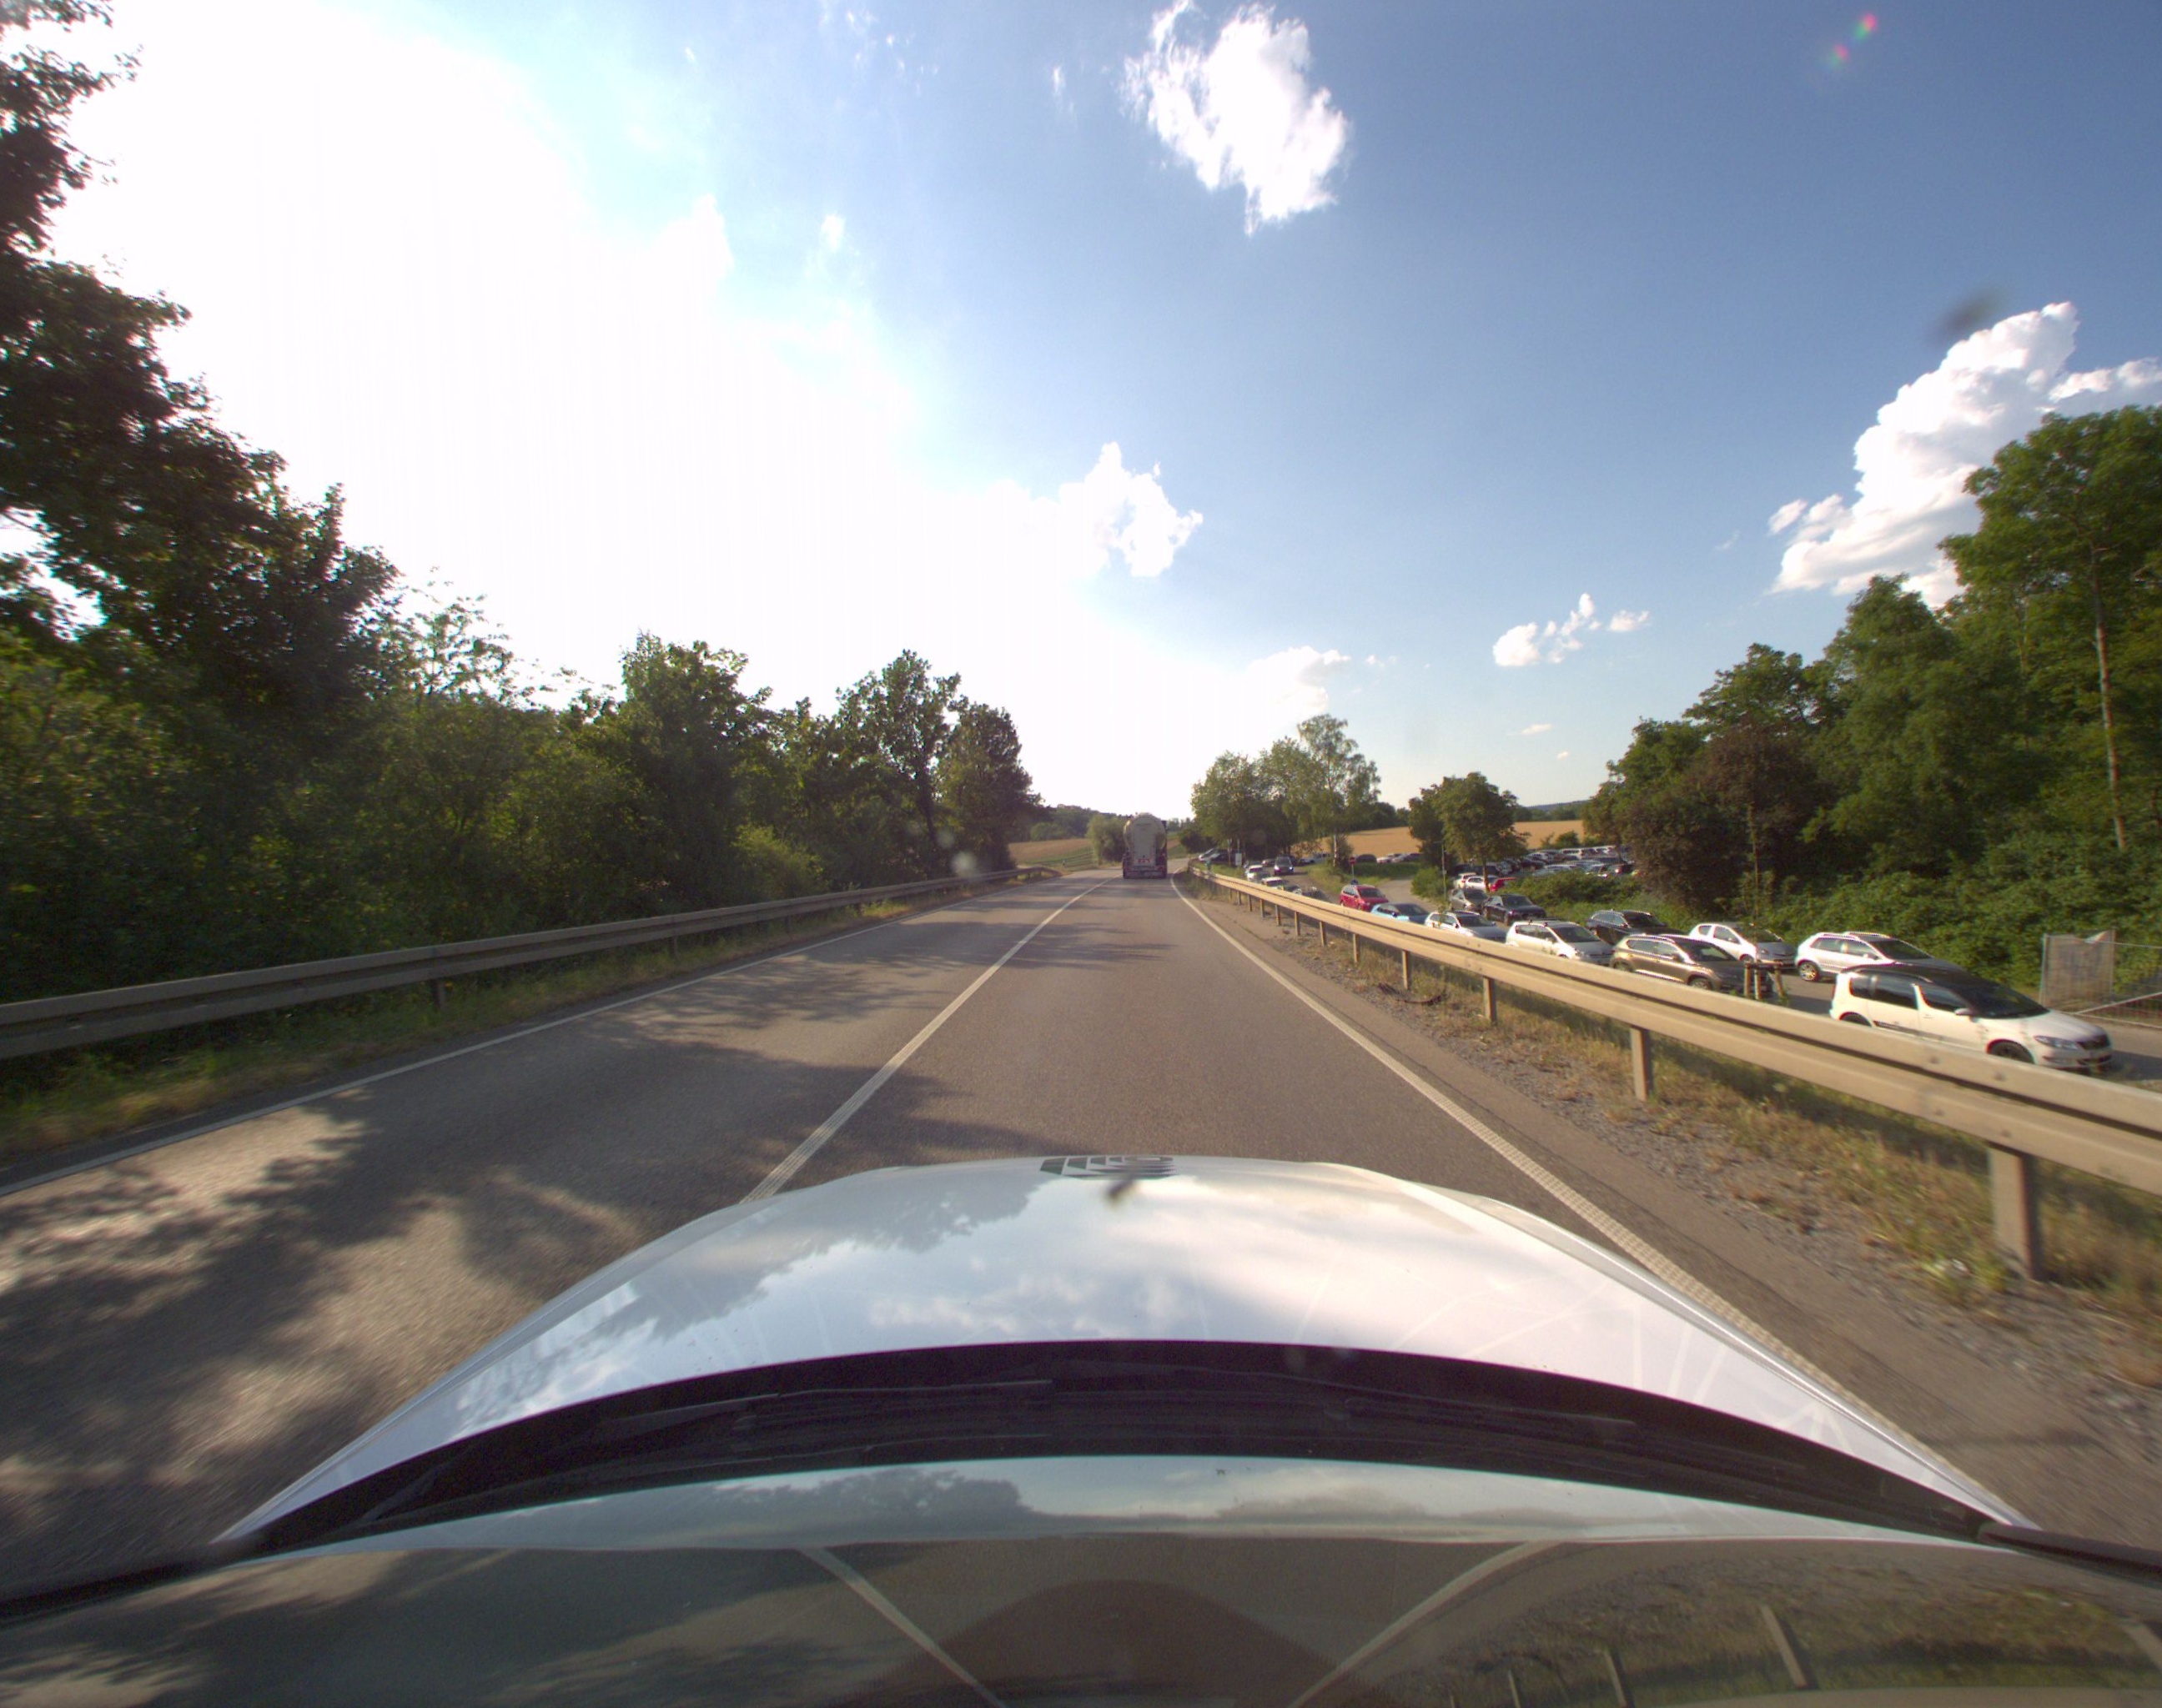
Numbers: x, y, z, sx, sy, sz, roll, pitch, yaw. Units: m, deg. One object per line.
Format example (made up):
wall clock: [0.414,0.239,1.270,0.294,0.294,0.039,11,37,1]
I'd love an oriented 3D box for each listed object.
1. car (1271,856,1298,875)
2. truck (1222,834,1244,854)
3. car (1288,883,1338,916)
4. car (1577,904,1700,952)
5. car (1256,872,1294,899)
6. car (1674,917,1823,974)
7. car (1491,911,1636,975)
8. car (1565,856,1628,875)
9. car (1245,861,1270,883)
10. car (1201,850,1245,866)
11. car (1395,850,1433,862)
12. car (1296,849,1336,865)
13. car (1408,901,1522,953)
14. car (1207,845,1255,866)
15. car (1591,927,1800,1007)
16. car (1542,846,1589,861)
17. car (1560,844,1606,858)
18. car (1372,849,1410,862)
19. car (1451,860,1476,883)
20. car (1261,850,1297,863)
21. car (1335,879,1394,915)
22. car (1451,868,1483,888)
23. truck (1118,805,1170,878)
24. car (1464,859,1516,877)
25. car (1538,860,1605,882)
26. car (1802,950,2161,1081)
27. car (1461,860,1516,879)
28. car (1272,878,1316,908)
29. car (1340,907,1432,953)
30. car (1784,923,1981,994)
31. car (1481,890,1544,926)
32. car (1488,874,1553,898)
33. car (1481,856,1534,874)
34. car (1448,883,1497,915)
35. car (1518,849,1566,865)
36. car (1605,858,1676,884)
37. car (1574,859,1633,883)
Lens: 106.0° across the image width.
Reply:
car: [19.722,1.101,79.199,1.882,1.675,4.790,-2,-1,6]
truck: [33.791,-2.272,180.222,3.158,4.227,13.232,-2,1,17]
car: [14.617,2.828,51.571,1.884,1.559,4.787,-5,2,3]
car: [22.567,2.957,33.230,1.696,1.398,4.784,-5,0,0]
car: [14.881,2.361,62.665,1.884,1.559,4.787,-5,2,3]
car: [22.857,3.098,28.109,1.697,1.398,3.940,-5,0,-3]
car: [17.094,3.090,29.176,1.891,1.559,4.770,-4,1,-8]
car: [47.014,1.048,74.350,1.812,1.691,4.544,-2,0,-38]
car: [15.983,1.603,73.982,1.880,1.559,4.797,-5,2,10]
car: [14.877,0.437,85.272,4.329,1.509,1.708,2,1,-23]
car: [40.927,0.230,99.979,4.602,1.441,1.795,0,0,-28]
car: [28.038,0.379,97.241,4.217,1.747,1.800,-3,1,-19]
car: [16.281,3.054,34.839,1.893,1.559,4.765,-5,2,-10]
car: [16.871,0.167,91.782,5.113,1.943,1.979,4,1,7]
car: [17.469,3.146,23.516,1.892,1.559,4.766,4,0,-10]
car: [58.988,-0.052,99.124,1.812,1.691,4.544,-2,0,-38]
car: [62.209,-0.360,100.961,1.812,1.691,4.544,-2,0,-38]
car: [39.213,0.187,102.986,4.654,1.507,1.982,-1,0,-27]
car: [35.072,1.588,74.684,1.781,1.842,4.625,-2,0,28]
car: [23.187,0.260,95.542,3.728,1.441,1.801,0,0,-18]
car: [17.908,2.687,51.671,1.886,1.686,5.086,-5,2,0]
car: [32.360,2.002,68.321,1.676,1.486,4.310,-2,1,15]
truck: [4.166,-0.747,53.288,2.879,4.142,13.190,-1,0,5]
car: [41.564,1.444,82.848,4.537,1.691,1.815,-2,0,32]
car: [40.953,1.410,68.116,1.806,1.691,4.561,-2,0,-23]
car: [18.573,3.214,17.219,1.894,1.559,4.763,-5,2,-12]
car: [39.170,1.512,78.347,4.537,1.691,1.815,-2,0,32]
car: [14.794,2.647,56.789,1.884,1.559,4.787,-5,2,3]
car: [14.829,3.652,39.927,1.894,1.559,4.763,-5,2,-12]
car: [23.291,2.973,23.885,1.698,1.510,3.938,-2,0,-5]
car: [22.711,2.807,43.048,1.689,1.398,4.802,-5,0,13]
car: [30.952,2.258,57.411,3.737,1.543,1.661,-2,0,14]
car: [43.949,1.150,84.011,1.812,1.691,4.544,-2,0,-38]
car: [23.461,2.681,48.950,1.689,1.398,4.116,-5,2,13]
car: [53.896,0.363,95.206,1.812,1.691,4.544,-2,0,-38]
car: [41.549,1.256,60.568,4.129,1.753,1.815,-2,0,-5]
car: [41.074,1.312,63.997,4.147,1.671,1.644,-2,0,-18]
